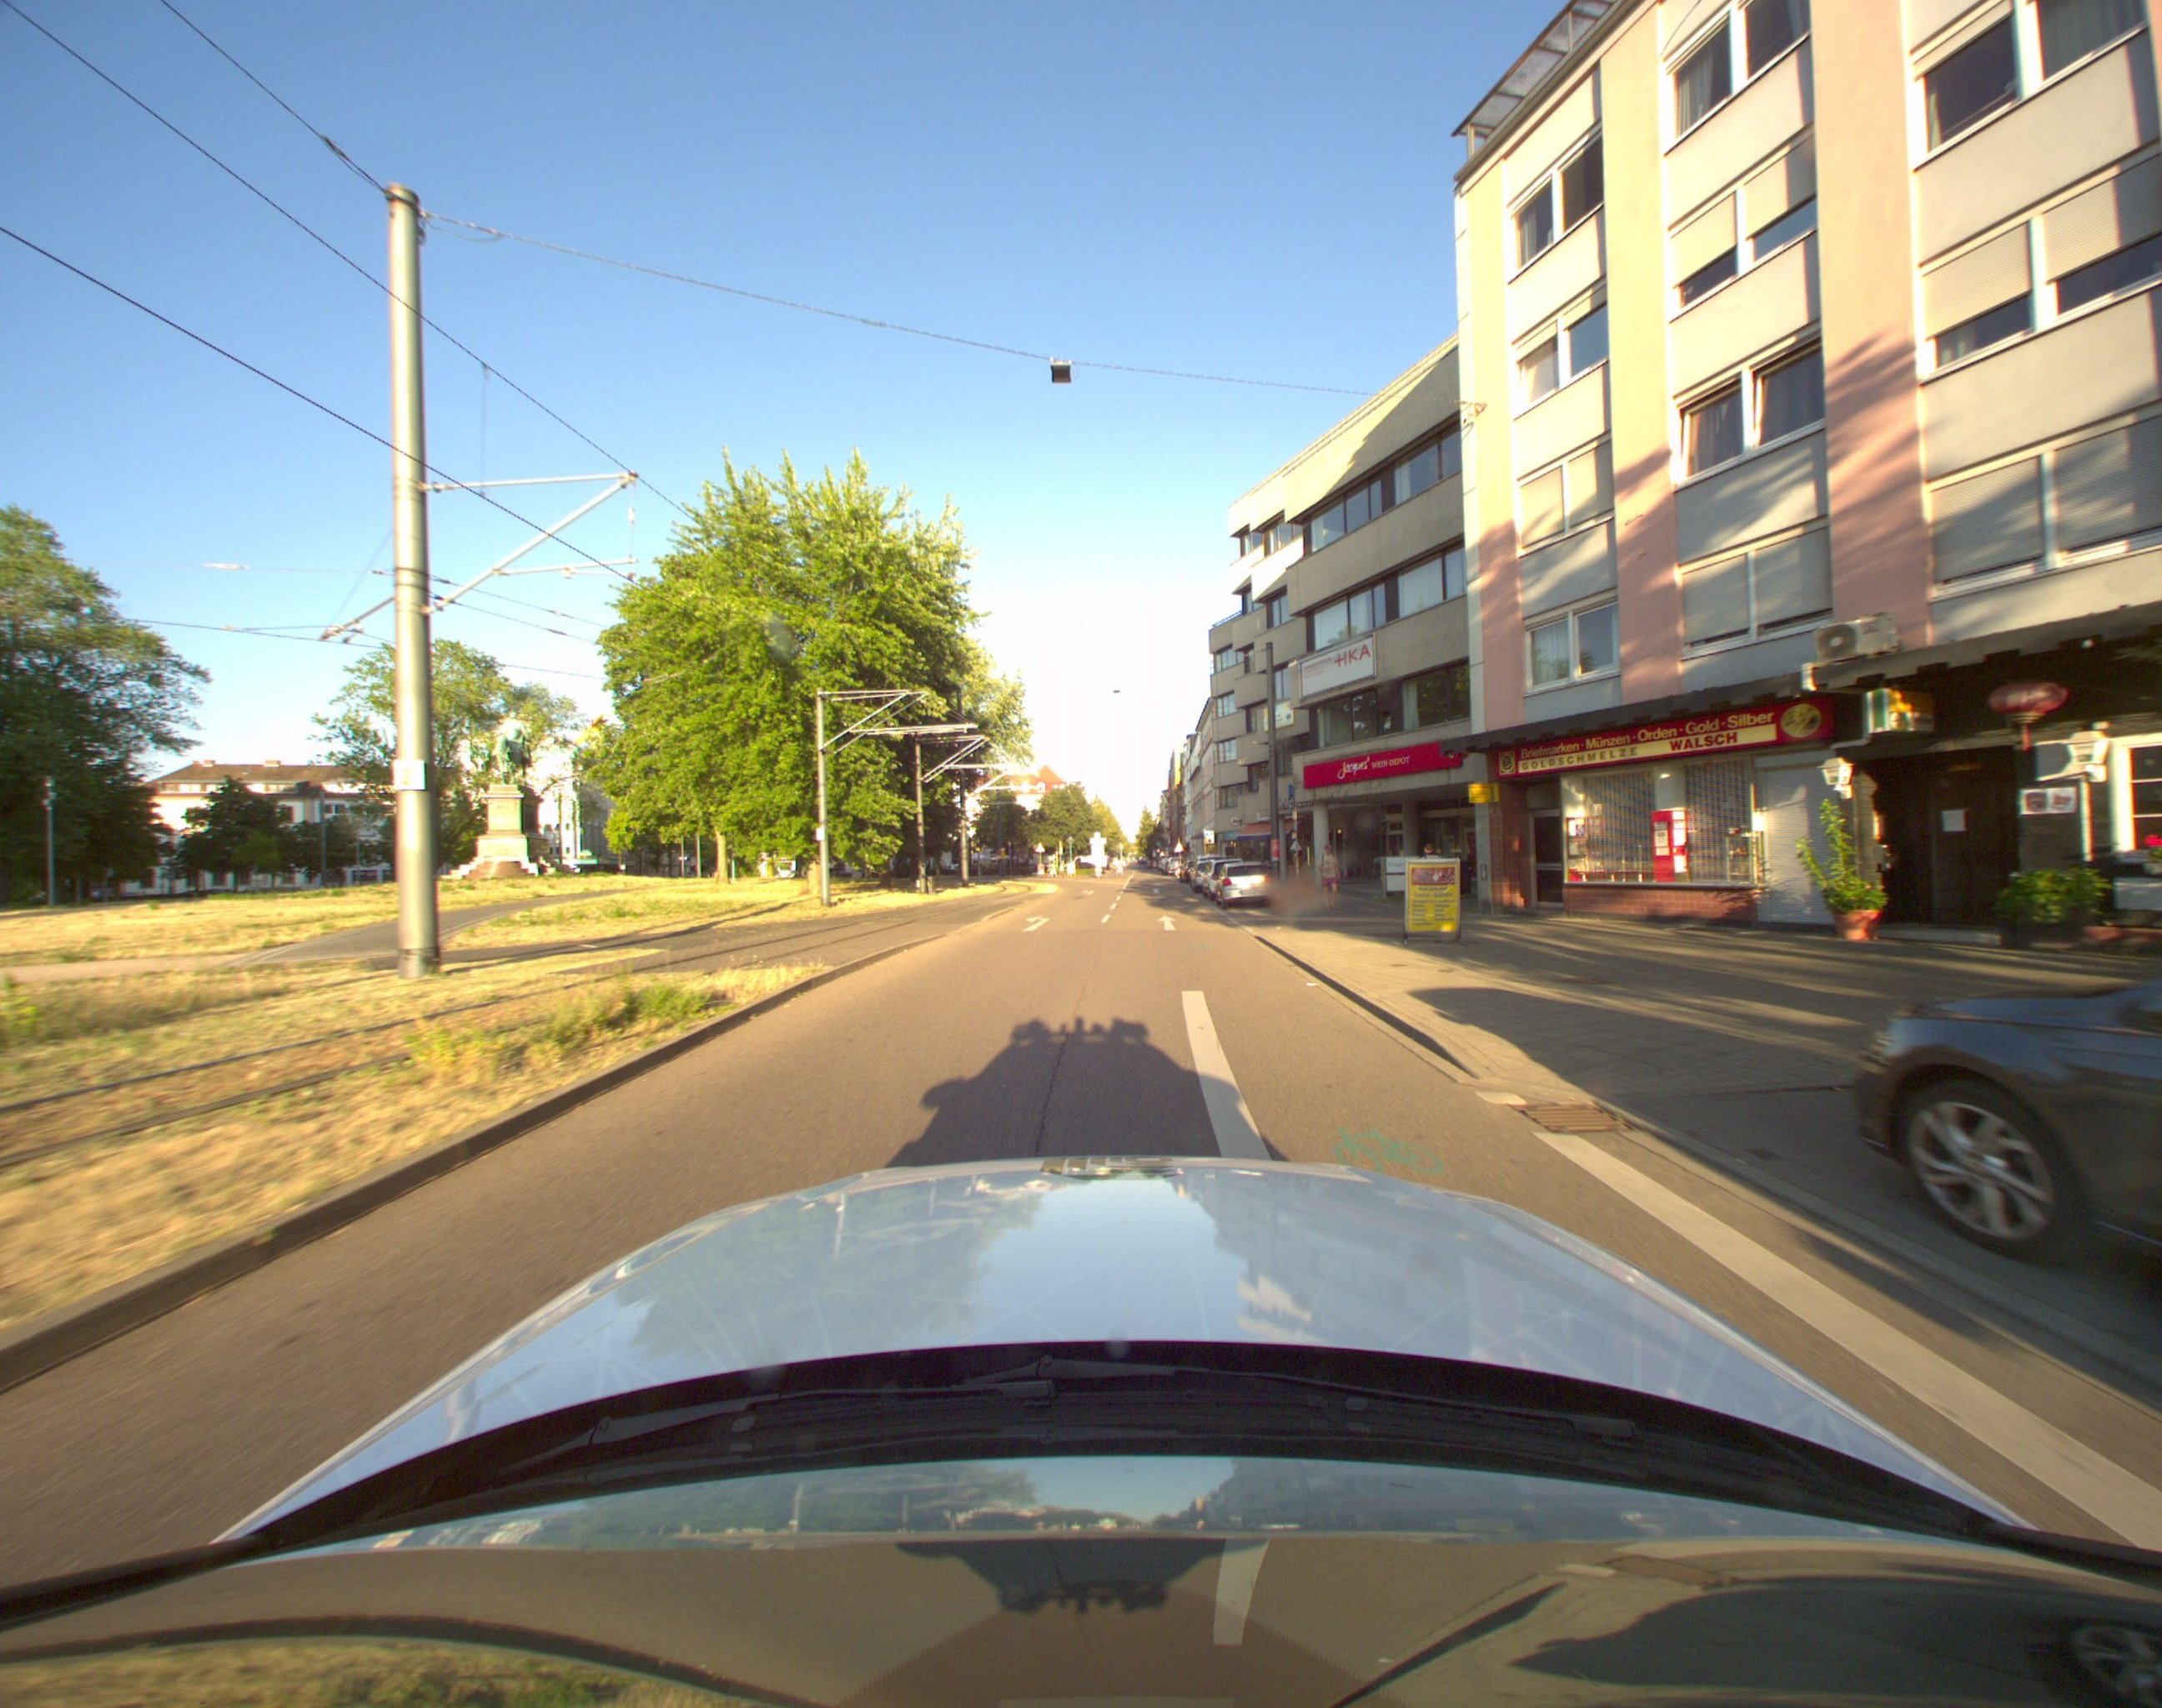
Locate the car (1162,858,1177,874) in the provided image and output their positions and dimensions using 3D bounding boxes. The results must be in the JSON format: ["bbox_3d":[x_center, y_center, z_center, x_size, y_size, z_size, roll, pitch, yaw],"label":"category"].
[{"bbox_3d":[10.642,1.420,98.215,1.702,1.835,4.312,-1,0,5],"label":"car"}]

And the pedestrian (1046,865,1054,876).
[{"bbox_3d":[-3.725,2.036,98.909,0.752,1.277,0.655,0,-1,-33],"label":"pedestrian"}]

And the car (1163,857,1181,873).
[{"bbox_3d":[9.542,1.166,85.395,1.649,1.665,4.111,-1,-1,3],"label":"car"}]

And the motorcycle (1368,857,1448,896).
[{"bbox_3d":[10.407,0.711,25.939,2.273,1.190,0.703,-1,-1,-7],"label":"motorcycle"}]

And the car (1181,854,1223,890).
[{"bbox_3d":[6.463,0.919,43.855,1.776,1.804,4.404,-1,0,3],"label":"car"}]

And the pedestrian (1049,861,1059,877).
[{"bbox_3d":[-2.741,1.518,81.787,0.702,1.559,0.687,0,-1,-33],"label":"pedestrian"}]

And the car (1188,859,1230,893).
[{"bbox_3d":[5.981,0.997,38.421,1.633,1.528,4.005,-1,0,5],"label":"car"}]

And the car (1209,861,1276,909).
[{"bbox_3d":[5.285,0.985,27.094,1.776,1.456,4.006,-2,-1,6],"label":"car"}]

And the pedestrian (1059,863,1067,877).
[{"bbox_3d":[-1.842,1.585,82.111,0.566,1.364,0.608,0,-1,-33],"label":"pedestrian"}]

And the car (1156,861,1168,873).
[{"bbox_3d":[12.842,2.021,129.335,1.689,1.769,4.004,-2,-1,3],"label":"car"}]

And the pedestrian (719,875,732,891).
[{"bbox_3d":[-40.502,3.308,92.798,0.857,1.840,0.998,-1,1,4],"label":"pedestrian"}]

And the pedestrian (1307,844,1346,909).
[{"bbox_3d":[6.849,0.612,22.737,0.641,1.786,0.851,0,-1,-19],"label":"pedestrian"}]

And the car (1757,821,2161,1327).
[{"bbox_3d":[4.065,0.654,1.952,1.644,1.534,4.069,-1,0,3],"label":"car"}]

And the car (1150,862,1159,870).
[{"bbox_3d":[15.377,2.433,171.329,1.571,1.543,3.397,-4,-2,1],"label":"car"}]

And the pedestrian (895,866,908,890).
[{"bbox_3d":[-12.749,1.729,57.869,0.740,1.699,0.824,-1,-3,4],"label":"pedestrian"}]

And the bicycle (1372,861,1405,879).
[{"bbox_3d":[14.258,0.734,37.801,1.390,0.829,0.437,-1,-1,-6],"label":"bicycle"}]

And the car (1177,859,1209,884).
[{"bbox_3d":[7.085,1.096,51.708,1.781,1.507,3.926,-1,0,5],"label":"car"}]

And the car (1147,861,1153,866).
[{"bbox_3d":[17.241,2.451,203.457,1.202,1.300,2.661,-1,-2,1],"label":"car"}]

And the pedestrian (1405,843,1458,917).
[{"bbox_3d":[8.087,0.590,18.817,0.641,1.627,0.851,-3,0,-19],"label":"pedestrian"}]

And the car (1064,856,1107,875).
[{"bbox_3d":[0.554,1.399,98.071,4.618,2.251,2.186,0,-1,-23],"label":"car"}]

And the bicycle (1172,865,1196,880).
[{"bbox_3d":[8.154,1.464,64.369,1.774,0.990,0.544,-5,0,15],"label":"bicycle"}]

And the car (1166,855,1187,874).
[{"bbox_3d":[9.352,1.001,79.936,1.784,1.792,4.096,-2,-1,4],"label":"car"}]

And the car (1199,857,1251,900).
[{"bbox_3d":[5.610,0.908,32.103,1.578,1.591,3.670,-1,0,3],"label":"car"}]

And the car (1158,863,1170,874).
[{"bbox_3d":[12.604,2.153,124.211,1.672,1.561,4.007,-3,-1,6],"label":"car"}]

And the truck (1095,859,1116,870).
[{"bbox_3d":[5.924,2.553,194.389,4.920,2.615,2.002,-2,-1,3],"label":"truck"}]
